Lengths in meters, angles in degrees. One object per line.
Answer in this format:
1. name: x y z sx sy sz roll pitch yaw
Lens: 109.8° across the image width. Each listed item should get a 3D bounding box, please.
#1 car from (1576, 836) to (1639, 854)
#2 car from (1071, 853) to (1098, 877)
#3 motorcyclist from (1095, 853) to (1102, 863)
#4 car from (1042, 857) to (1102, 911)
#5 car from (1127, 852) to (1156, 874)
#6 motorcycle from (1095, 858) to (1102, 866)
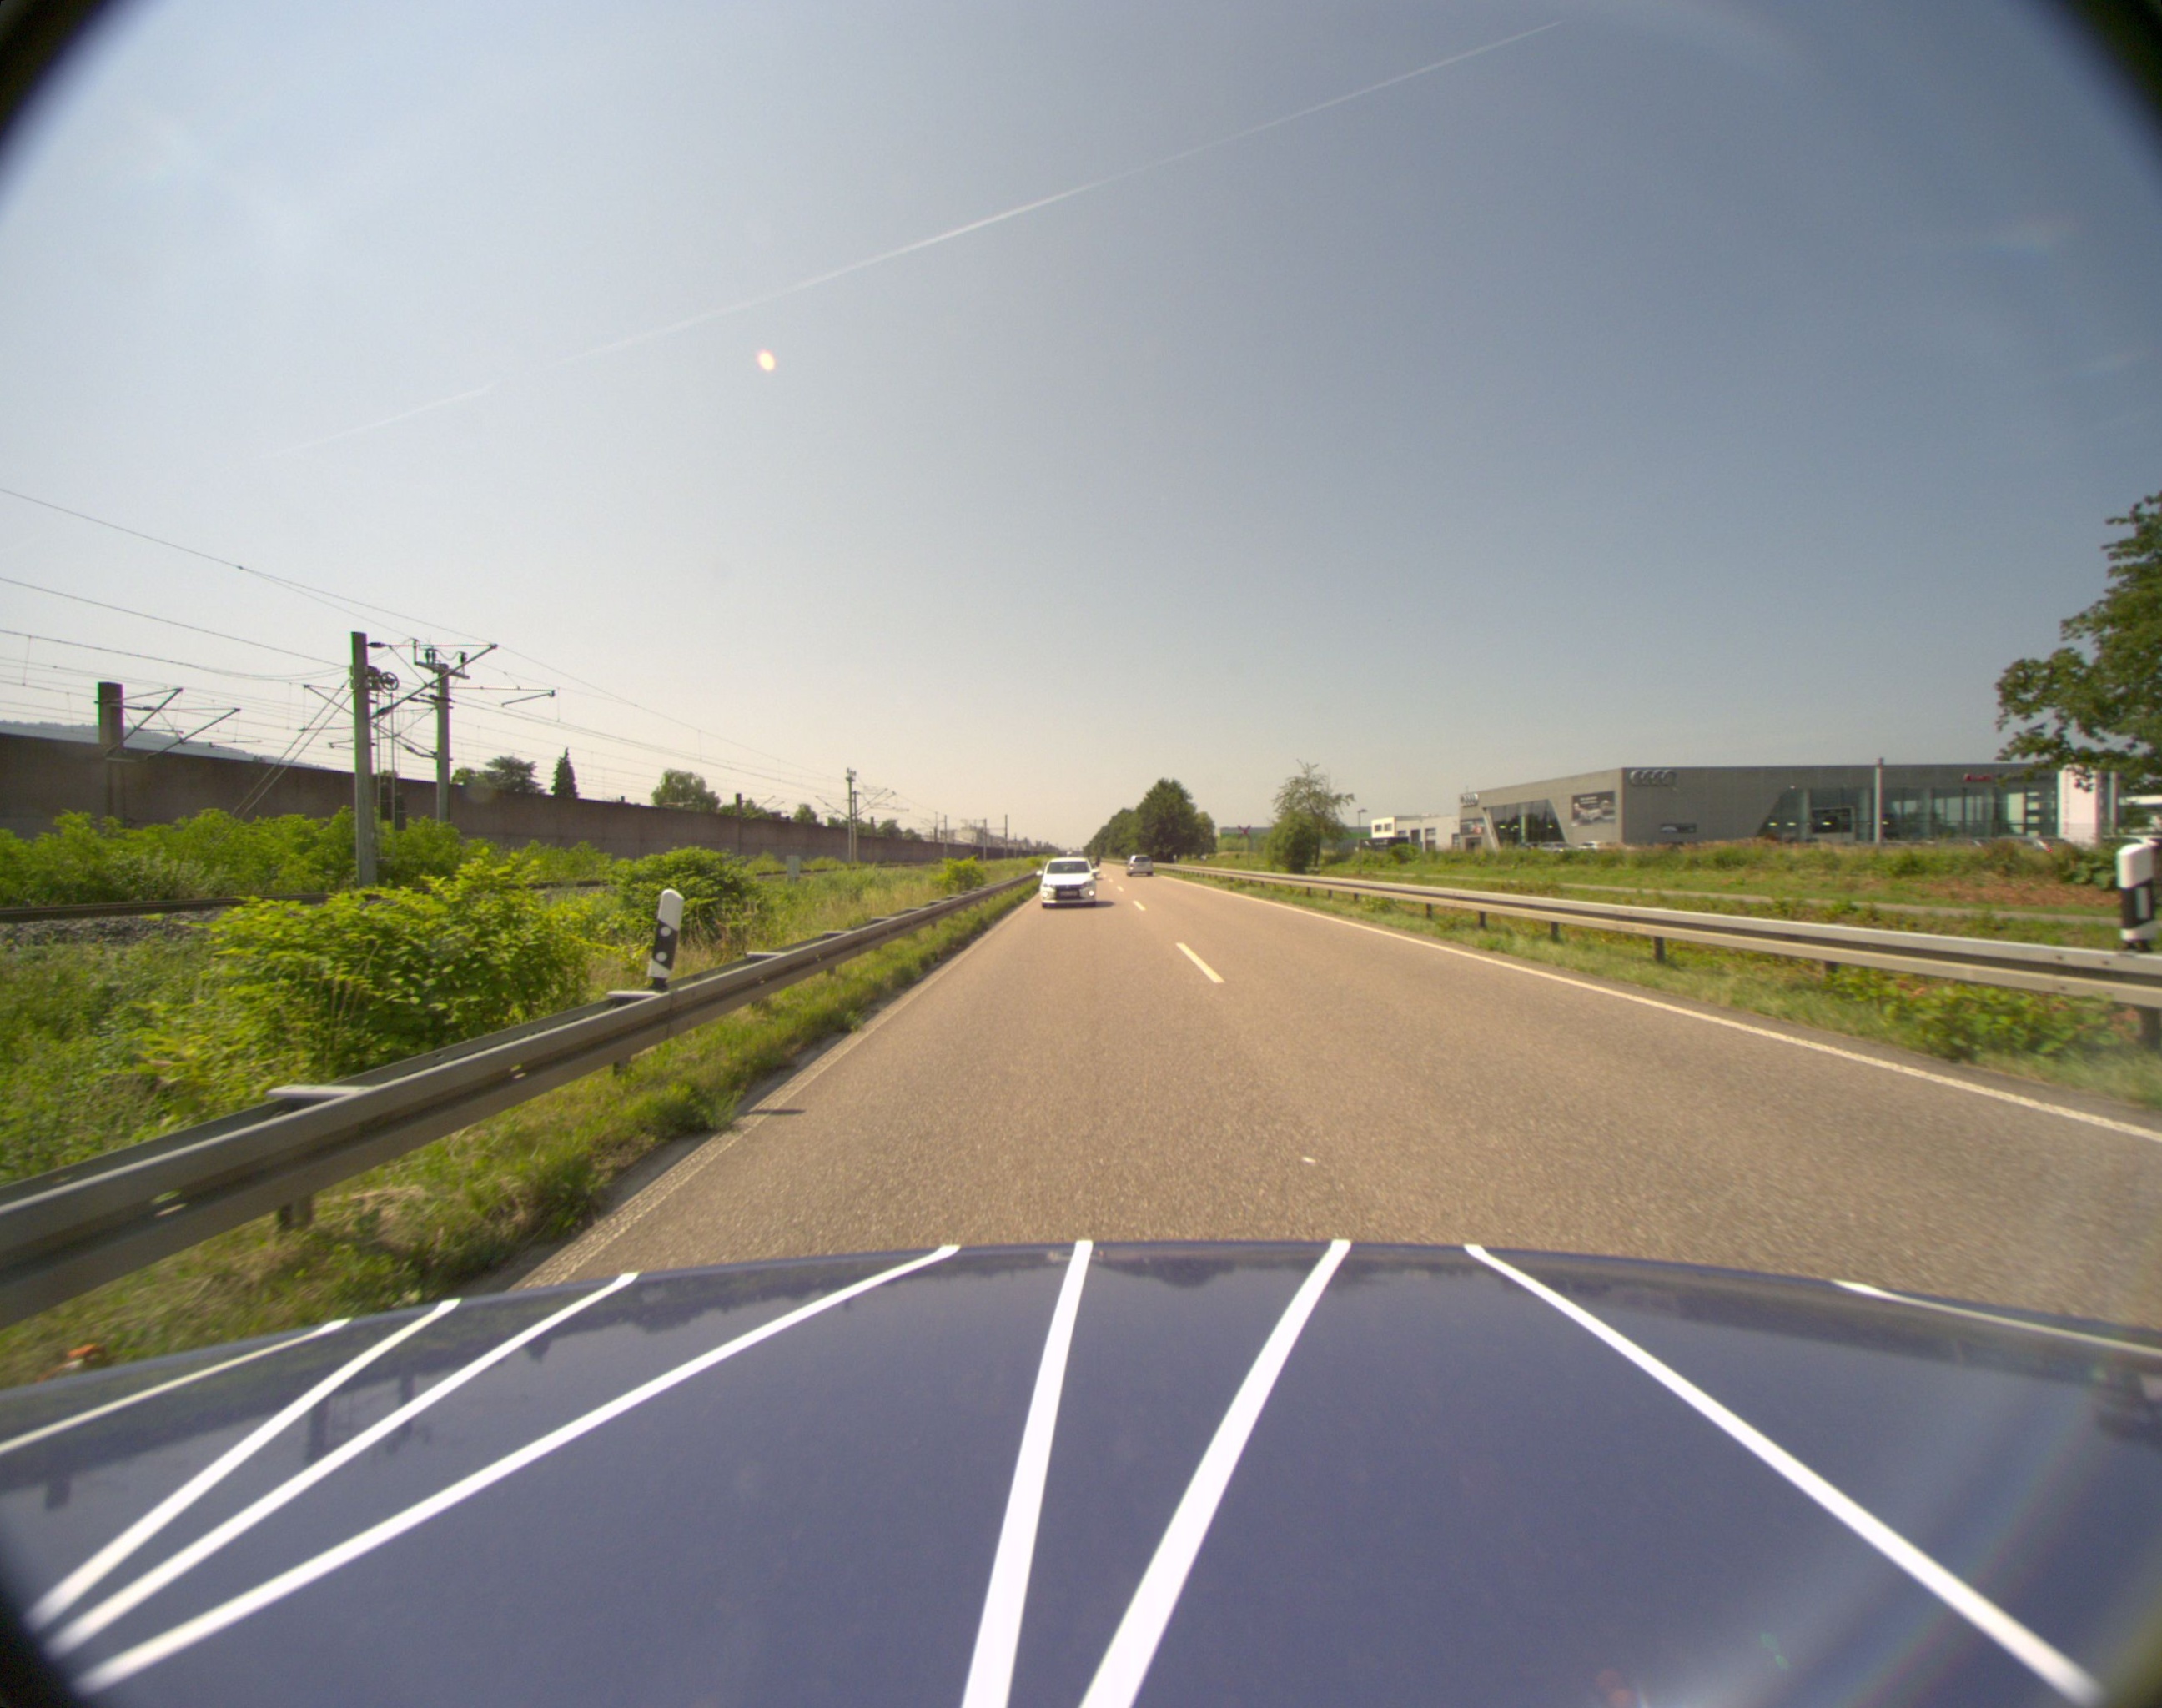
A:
1. car: 43.367 -0.702 62.671 4.239 1.428 1.623 0 0 -6
2. car: 0.220 0.710 51.540 1.711 1.470 4.154 -2 0 -1
3. motorcyclist: 2.339 0.531 101.790 0.996 1.302 0.935 -2 1 0
4. car: -0.298 0.880 23.932 1.701 1.470 4.154 -2 0 -1
5. car: 4.283 0.610 54.379 1.702 1.466 4.686 -2 0 1
6. motorcycle: 2.360 1.048 101.900 0.930 1.022 2.268 -2 0 1
